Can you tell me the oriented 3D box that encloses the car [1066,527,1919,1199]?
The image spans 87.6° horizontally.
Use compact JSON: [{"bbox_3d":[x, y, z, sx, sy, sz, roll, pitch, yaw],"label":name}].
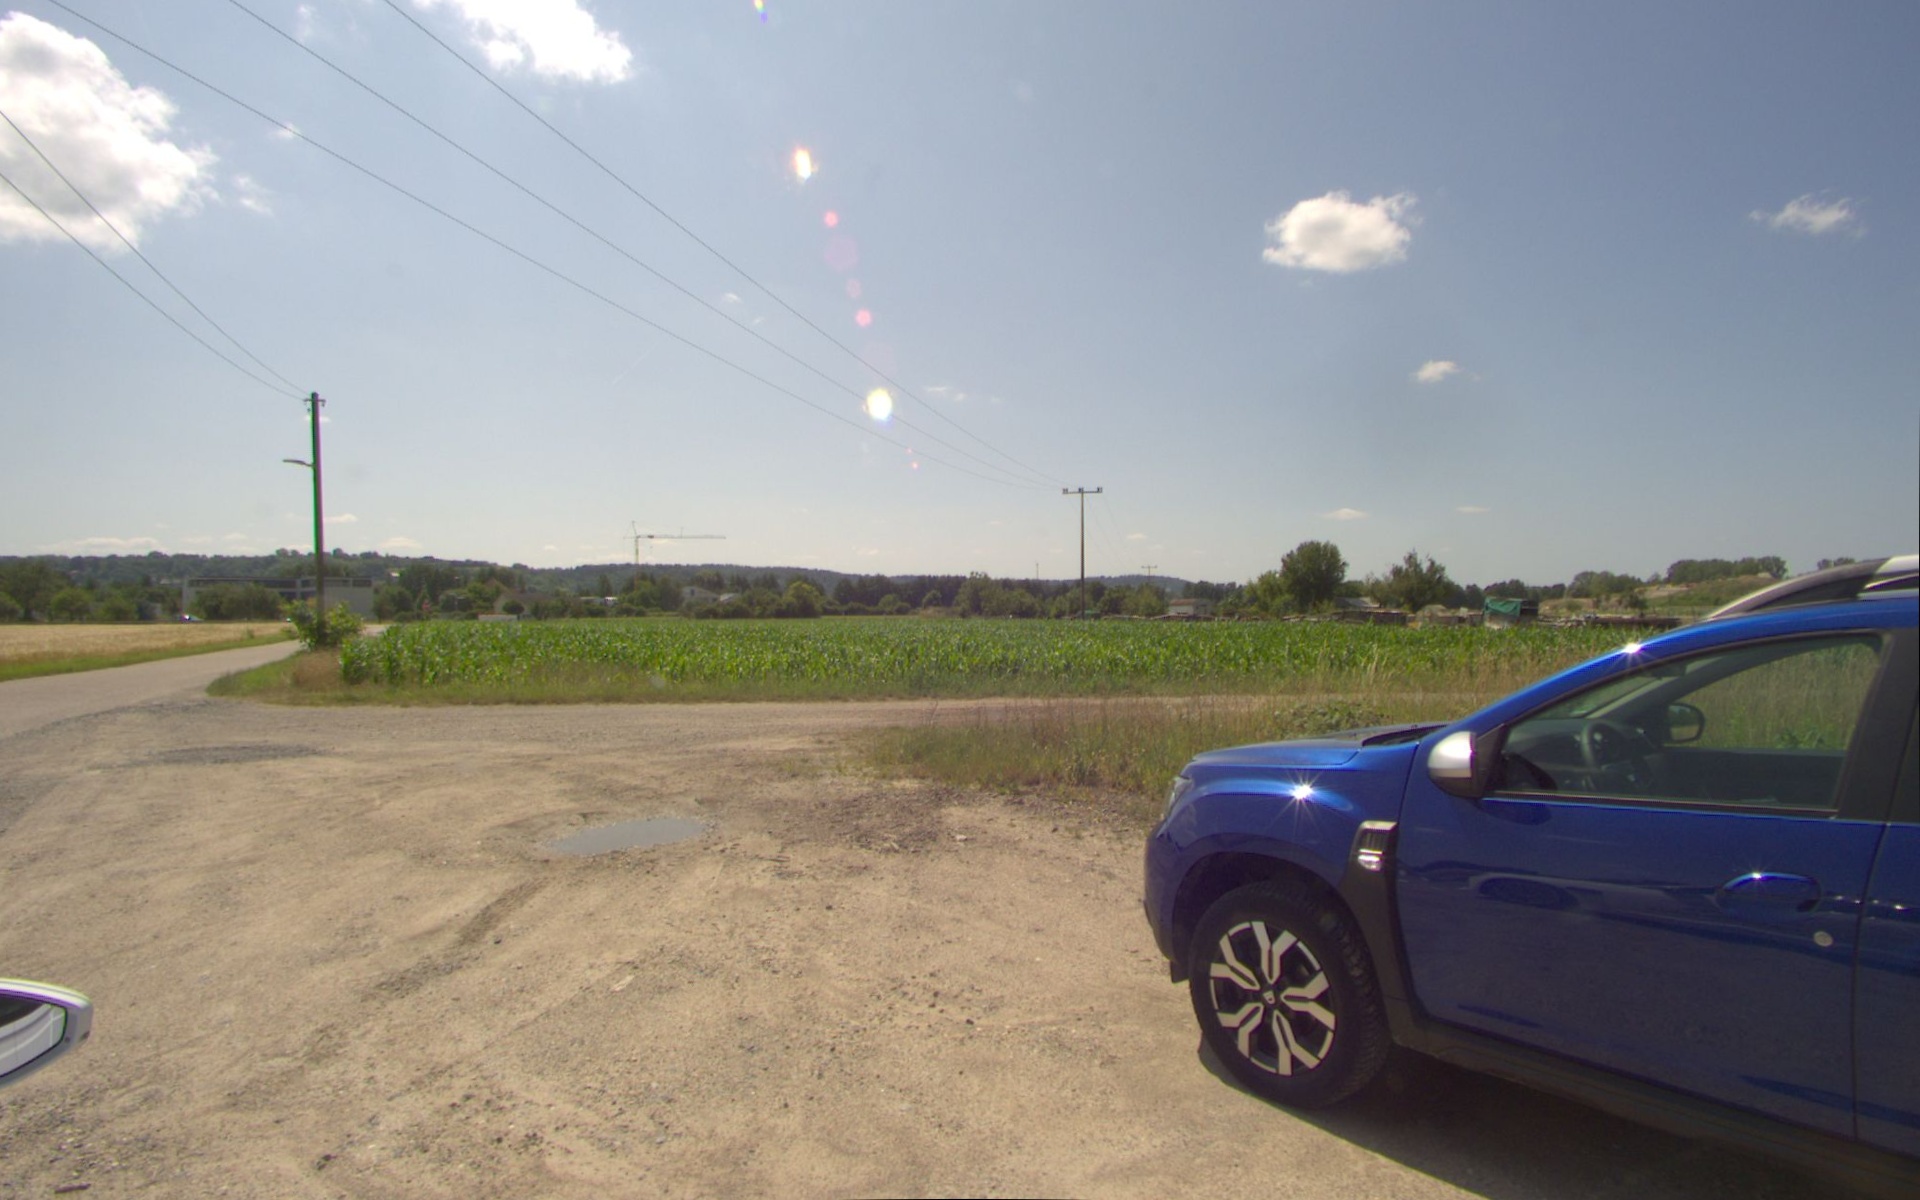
[{"bbox_3d":[2.492,0.721,2.691,1.843,1.682,4.424,1,-2,-39],"label":"car"}]
